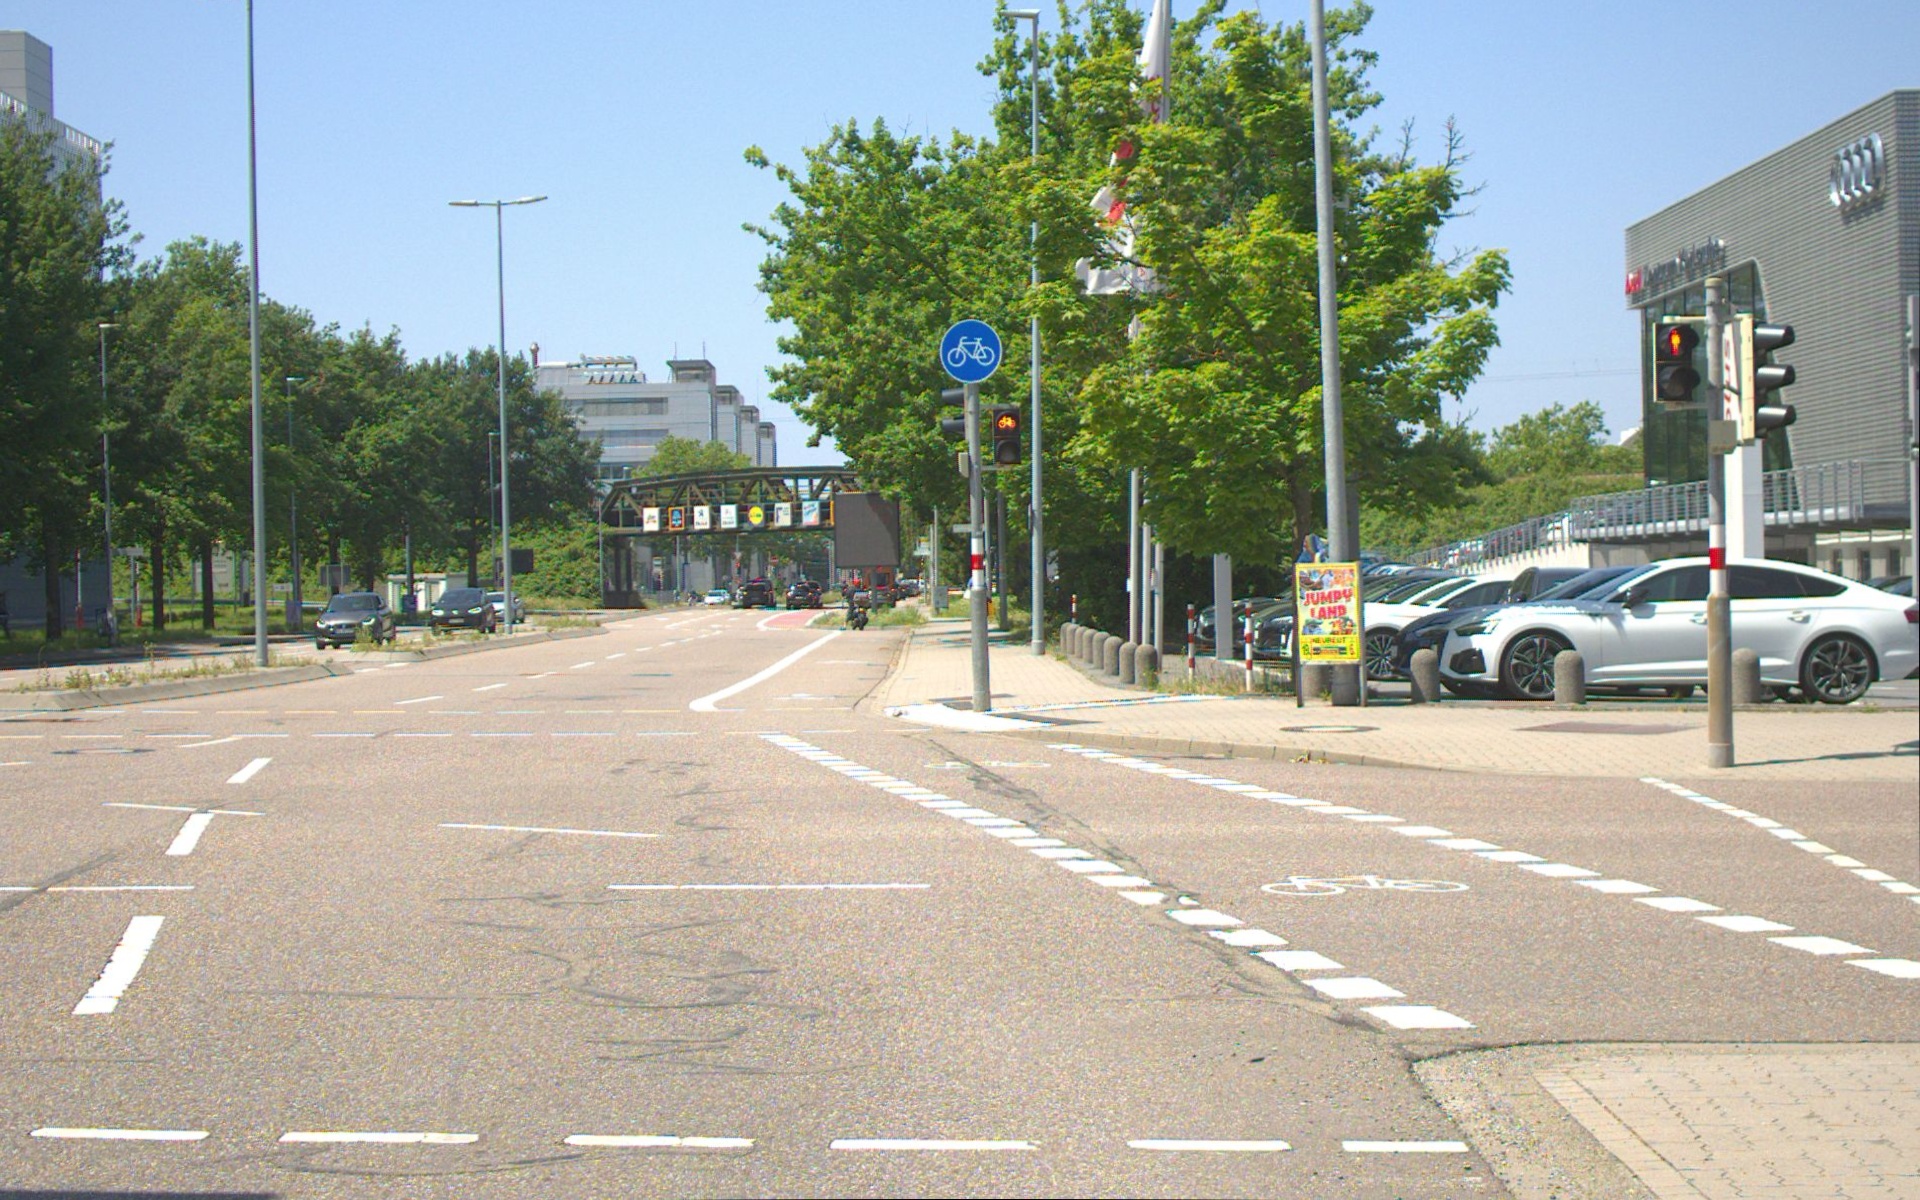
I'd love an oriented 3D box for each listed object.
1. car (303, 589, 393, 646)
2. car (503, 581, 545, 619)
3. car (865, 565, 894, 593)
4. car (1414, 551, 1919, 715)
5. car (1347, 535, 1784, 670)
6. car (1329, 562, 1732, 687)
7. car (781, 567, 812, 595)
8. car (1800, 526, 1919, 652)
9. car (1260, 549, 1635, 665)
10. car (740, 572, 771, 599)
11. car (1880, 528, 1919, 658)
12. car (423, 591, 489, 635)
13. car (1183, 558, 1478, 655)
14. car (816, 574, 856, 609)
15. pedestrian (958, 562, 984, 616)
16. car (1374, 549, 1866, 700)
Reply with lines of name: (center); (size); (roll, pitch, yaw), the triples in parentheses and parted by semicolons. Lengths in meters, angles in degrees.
car: (-16.484, 0.456, 92.718); (1.732, 1.422, 3.706); (-3, 0, -1)
car: (-19.628, -0.005, 154.971); (1.648, 1.647, 4.164); (-1, 1, -5)
car: (-5.161, -1.349, 220.731); (1.772, 1.722, 4.000); (-1, 0, -1)
car: (6.890, 0.301, 33.303); (4.741, 1.452, 2.000); (-1, 1, 2)
car: (6.966, 0.014, 39.949); (4.741, 1.452, 2.000); (-1, 1, 2)
car: (7.207, 0.289, 43.782); (4.741, 1.452, 2.000); (-1, 1, -2)
car: (-10.437, -1.230, 219.817); (1.772, 1.722, 4.000); (-1, 0, -1)
car: (16.141, -0.217, 56.861); (3.987, 2.007, 2.000); (-1, 1, 1)
car: (6.556, 0.075, 46.570); (4.741, 1.452, 2.000); (-1, 1, -2)
car: (-13.388, -0.967, 225.517); (1.772, 1.722, 4.000); (-1, 0, -1)
car: (16.840, -0.159, 54.391); (3.987, 2.007, 2.000); (-1, 1, 1)
car: (-17.073, 0.433, 116.594); (1.684, 1.406, 3.665); (-1, 0, -1)
car: (6.307, 0.097, 58.840); (4.741, 1.452, 2.000); (-2, 1, -2)
car: (-3.792, -0.267, 105.236); (1.137, 1.038, 2.308); (-1, 1, -1)
pedestrian: (0.304, -0.309, 95.773); (0.668, 1.505, 0.736); (-1, 0, -1)
car: (6.799, 0.257, 35.807); (4.741, 1.452, 2.000); (-1, 0, 2)
